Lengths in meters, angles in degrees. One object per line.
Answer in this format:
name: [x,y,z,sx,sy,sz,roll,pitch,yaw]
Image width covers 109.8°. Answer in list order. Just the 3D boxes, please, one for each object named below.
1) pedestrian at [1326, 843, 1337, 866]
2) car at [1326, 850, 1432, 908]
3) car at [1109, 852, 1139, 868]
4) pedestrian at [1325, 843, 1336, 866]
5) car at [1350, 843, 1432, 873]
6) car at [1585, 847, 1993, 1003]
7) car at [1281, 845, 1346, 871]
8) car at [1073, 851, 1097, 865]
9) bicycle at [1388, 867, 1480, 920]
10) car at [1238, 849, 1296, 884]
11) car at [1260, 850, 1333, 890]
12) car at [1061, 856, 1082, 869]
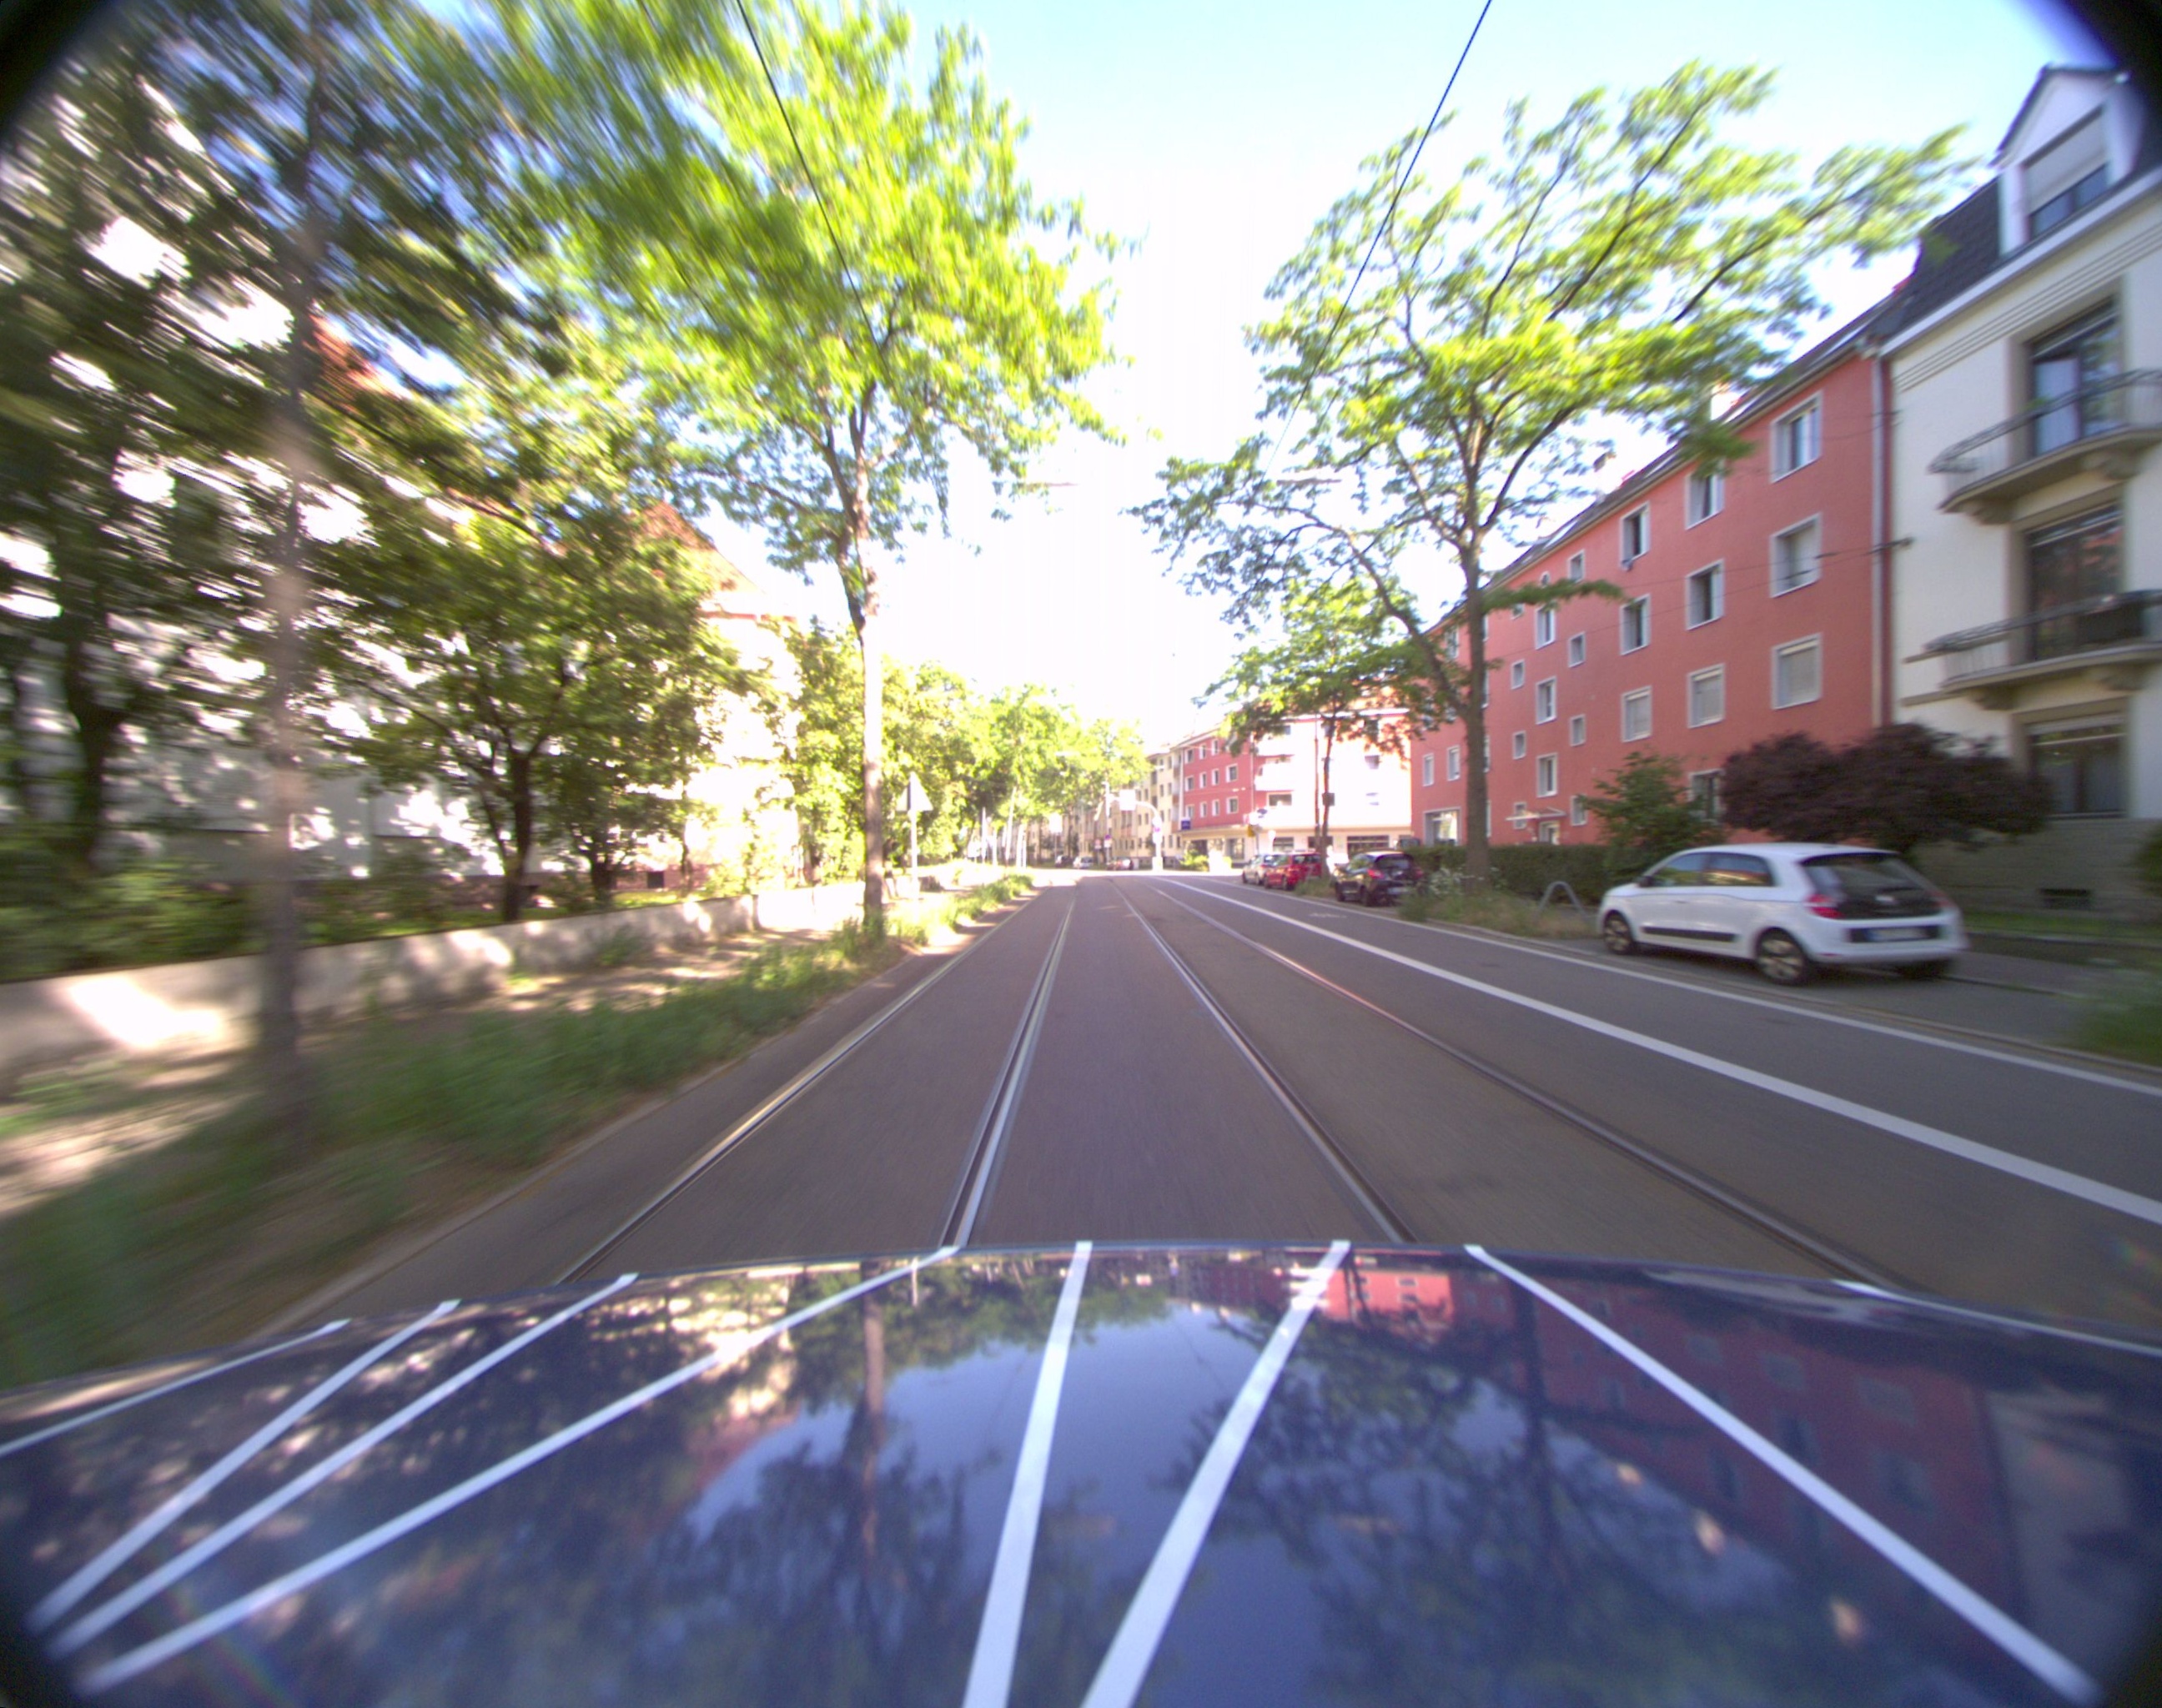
pedestrian: [19.186,0.038,58.218,0.803,1.755,0.509,0,1,20]
car: [8.315,0.646,21.534,1.558,1.446,3.667,-2,0,1]
car: [3.979,0.565,71.347,1.880,1.390,3.996,-4,0,-10]
pedestrian: [19.433,0.040,59.075,0.803,1.755,0.509,0,1,20]
car: [18.504,0.244,45.528,4.481,1.769,1.791,0,1,21]
car: [8.402,0.706,9.534,1.629,1.526,3.689,-2,0,-1]
car: [16.336,0.264,53.395,4.280,1.769,1.791,0,1,17]
car: [0.469,0.490,84.405,1.880,1.390,3.996,-4,0,-10]
bicycle: [7.991,0.889,17.226,1.816,1.114,0.543,-1,1,1]
car: [8.590,0.531,35.374,1.577,1.497,4.095,-2,0,-1]
car: [8.501,0.584,30.358,1.577,1.446,4.095,-2,0,-2]
car: [-1.166,1.029,91.870,1.880,1.390,3.996,-4,0,-10]
